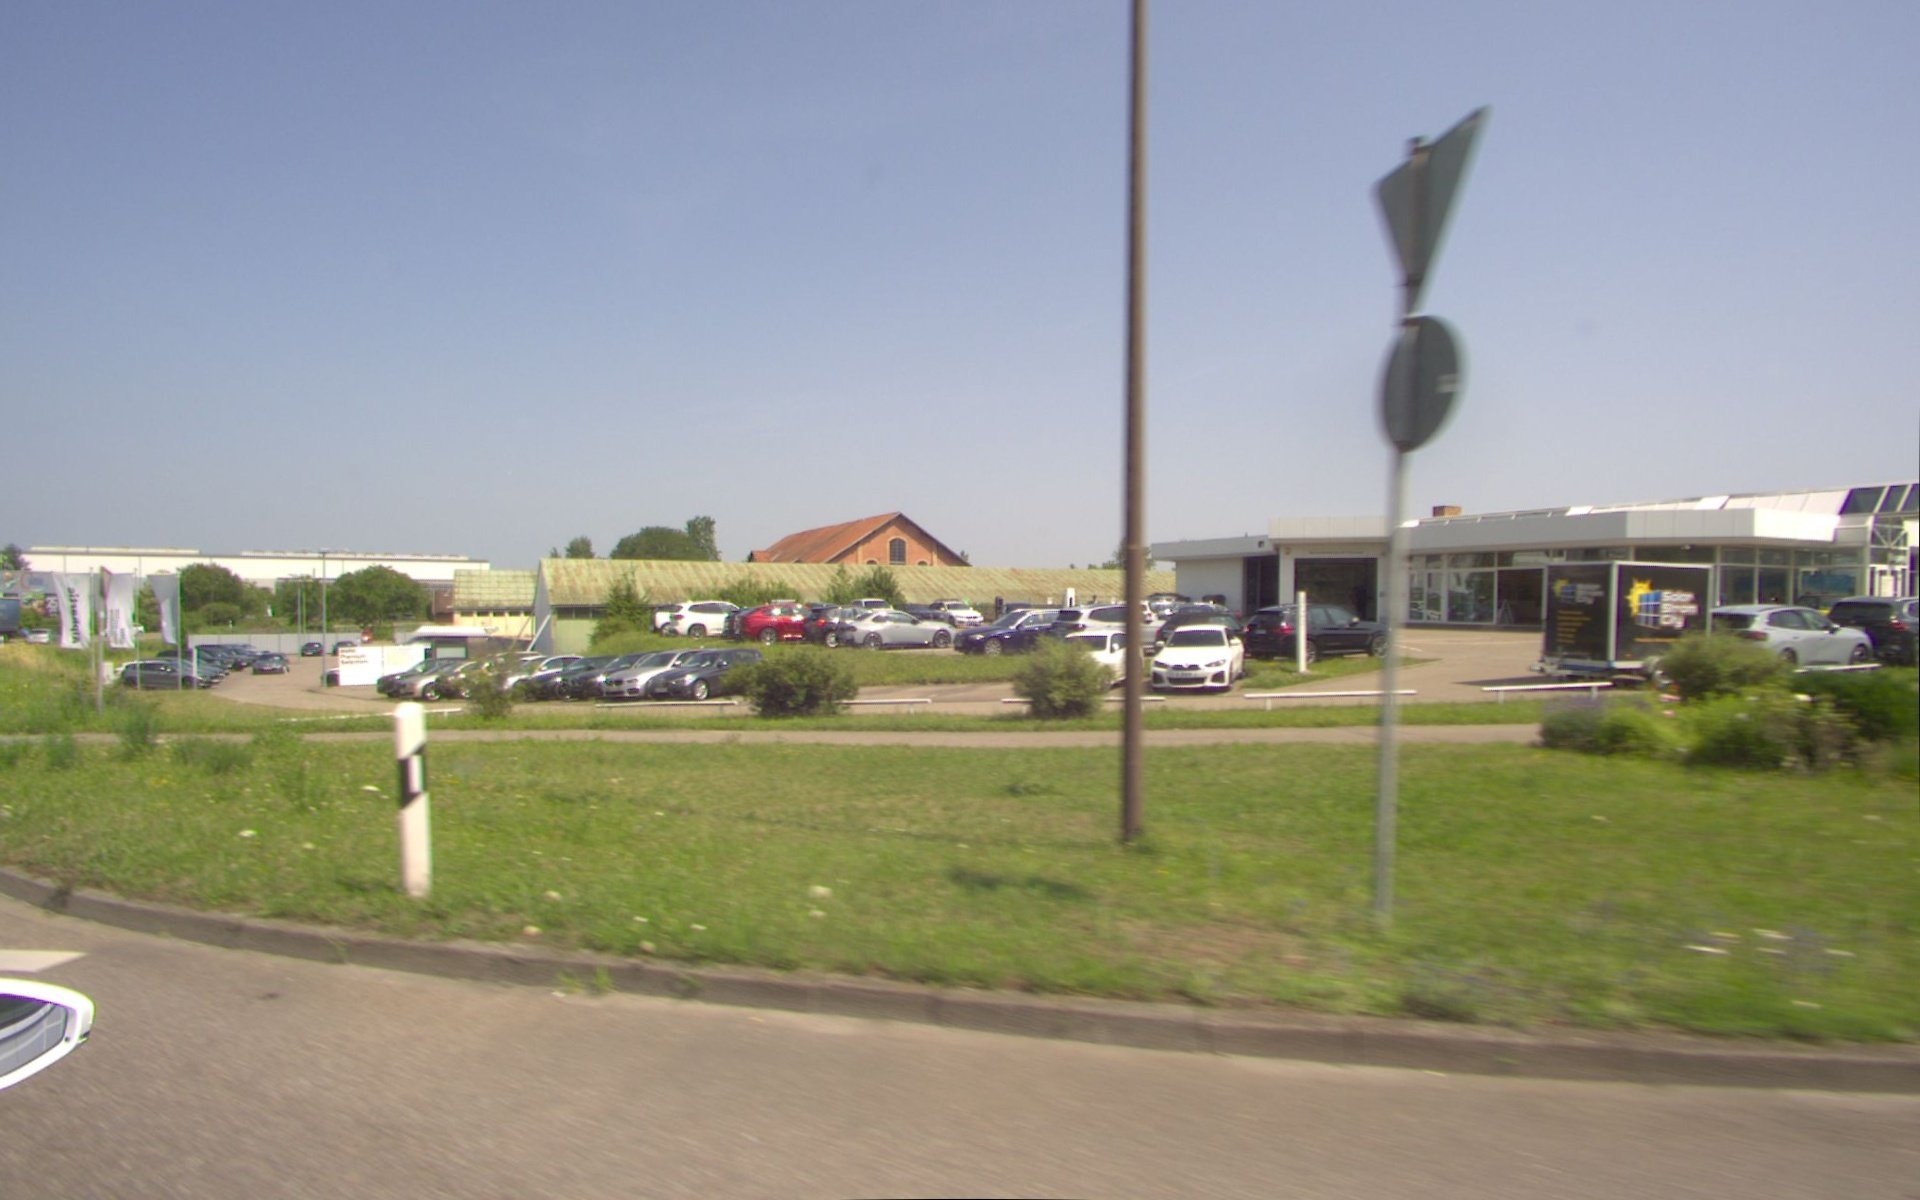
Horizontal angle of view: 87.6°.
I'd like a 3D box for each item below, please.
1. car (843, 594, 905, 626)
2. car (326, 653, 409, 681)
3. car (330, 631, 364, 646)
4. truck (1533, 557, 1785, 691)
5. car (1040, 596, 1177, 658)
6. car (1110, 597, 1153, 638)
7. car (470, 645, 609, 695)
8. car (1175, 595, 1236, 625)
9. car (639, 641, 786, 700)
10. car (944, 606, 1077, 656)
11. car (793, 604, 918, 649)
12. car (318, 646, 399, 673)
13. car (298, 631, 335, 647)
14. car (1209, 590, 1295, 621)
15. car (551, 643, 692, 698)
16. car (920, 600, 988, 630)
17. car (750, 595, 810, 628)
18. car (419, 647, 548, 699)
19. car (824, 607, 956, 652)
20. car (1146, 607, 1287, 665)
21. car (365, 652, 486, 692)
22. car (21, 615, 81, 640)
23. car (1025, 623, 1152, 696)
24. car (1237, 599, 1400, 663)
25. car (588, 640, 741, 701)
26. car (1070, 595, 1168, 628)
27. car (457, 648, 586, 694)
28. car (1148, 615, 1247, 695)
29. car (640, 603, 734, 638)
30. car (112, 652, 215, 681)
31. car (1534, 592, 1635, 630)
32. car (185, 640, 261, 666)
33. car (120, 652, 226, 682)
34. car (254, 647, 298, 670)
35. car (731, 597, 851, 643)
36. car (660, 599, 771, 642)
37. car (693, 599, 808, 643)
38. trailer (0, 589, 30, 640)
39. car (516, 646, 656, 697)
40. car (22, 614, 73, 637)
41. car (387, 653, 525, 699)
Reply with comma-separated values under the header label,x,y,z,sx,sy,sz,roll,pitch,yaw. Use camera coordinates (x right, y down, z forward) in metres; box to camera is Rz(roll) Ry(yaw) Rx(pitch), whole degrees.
label,x,y,z,sx,sy,sz,roll,pitch,yaw
car,-4.620,0.536,53.350,1.893,1.617,4.286,0,0,-26
car,-34.075,3.821,57.647,3.735,1.542,1.749,1,-2,-15
car,-61.825,3.895,101.075,1.965,1.416,3.994,1,-2,-16
truck,15.514,0.486,22.187,5.535,2.700,1.943,0,1,-23
car,4.716,0.802,31.744,3.949,1.774,1.940,-2,1,-29
car,7.060,0.677,41.191,1.626,1.607,4.266,0,0,10
car,-15.482,2.576,37.083,1.898,1.484,4.408,-4,-1,34
car,9.667,0.392,39.324,1.604,1.124,2.940,0,0,30
car,-7.496,2.112,30.814,1.757,1.439,4.553,-4,-1,28
car,1.644,0.973,33.003,3.943,1.546,1.943,0,0,-23
car,-4.006,0.986,38.577,4.402,1.656,1.940,0,0,-29
car,-36.207,3.563,60.376,3.905,1.542,1.747,1,-2,-22
car,-64.309,3.903,100.109,1.824,1.554,4.637,1,-2,-16
car,12.842,0.244,44.092,3.299,1.292,1.647,0,0,36
car,-11.445,2.360,34.098,1.897,1.501,4.236,-4,-1,33
car,-0.382,0.805,55.538,2.161,1.617,4.286,0,0,-26
car,-9.093,0.569,50.313,1.893,1.617,4.286,0,0,-26
car,-19.164,2.918,40.416,1.979,1.770,4.224,-4,-1,42
car,-2.543,1.032,36.587,4.402,1.520,1.940,0,0,-29
car,7.865,1.055,30.683,3.949,1.520,1.939,-2,2,-29
car,-24.320,3.265,45.685,2.122,1.660,4.464,-3,-3,38
car,-77.882,2.389,85.865,1.963,2.039,3.998,1,-2,-12
car,3.400,1.443,25.677,1.741,1.591,4.559,-1,0,27
car,10.242,0.842,28.567,4.360,1.519,1.941,-3,0,-29
car,-9.492,2.253,32.495,1.897,1.586,4.546,-4,-1,33
car,7.736,0.549,48.772,4.396,1.542,1.943,0,0,-24
car,-17.077,2.756,39.138,1.854,1.484,4.225,-4,-2,42
car,6.003,1.273,24.922,1.738,1.592,4.651,0,2,22
car,-12.398,0.908,45.460,3.830,1.553,1.760,0,0,-29
car,-44.198,3.687,55.660,4.096,1.542,1.750,1,-2,-13
car,27.852,0.471,44.640,3.975,1.607,1.903,0,0,-23
car,-54.626,3.915,74.241,4.154,1.723,1.918,1,1,-5
car,-41.864,3.557,53.339,4.093,1.542,1.690,1,-2,-9
car,-49.399,4.204,72.353,2.111,1.475,4.512,1,-2,-28
car,-6.770,0.769,40.179,4.402,1.770,1.940,0,0,-29
car,-10.655,0.851,43.650,4.402,1.770,1.830,0,0,-29
car,-8.736,0.852,41.827,4.402,1.770,1.830,0,0,-29
trailer,-83.714,1.211,85.551,2.640,4.294,14.499,2,-2,-29
car,-13.202,2.498,35.544,1.903,1.431,4.224,-4,-1,42
car,-83.260,2.314,91.427,1.965,2.039,3.993,1,-2,-18
car,-20.969,3.141,41.832,1.979,1.527,4.740,-4,-2,42
